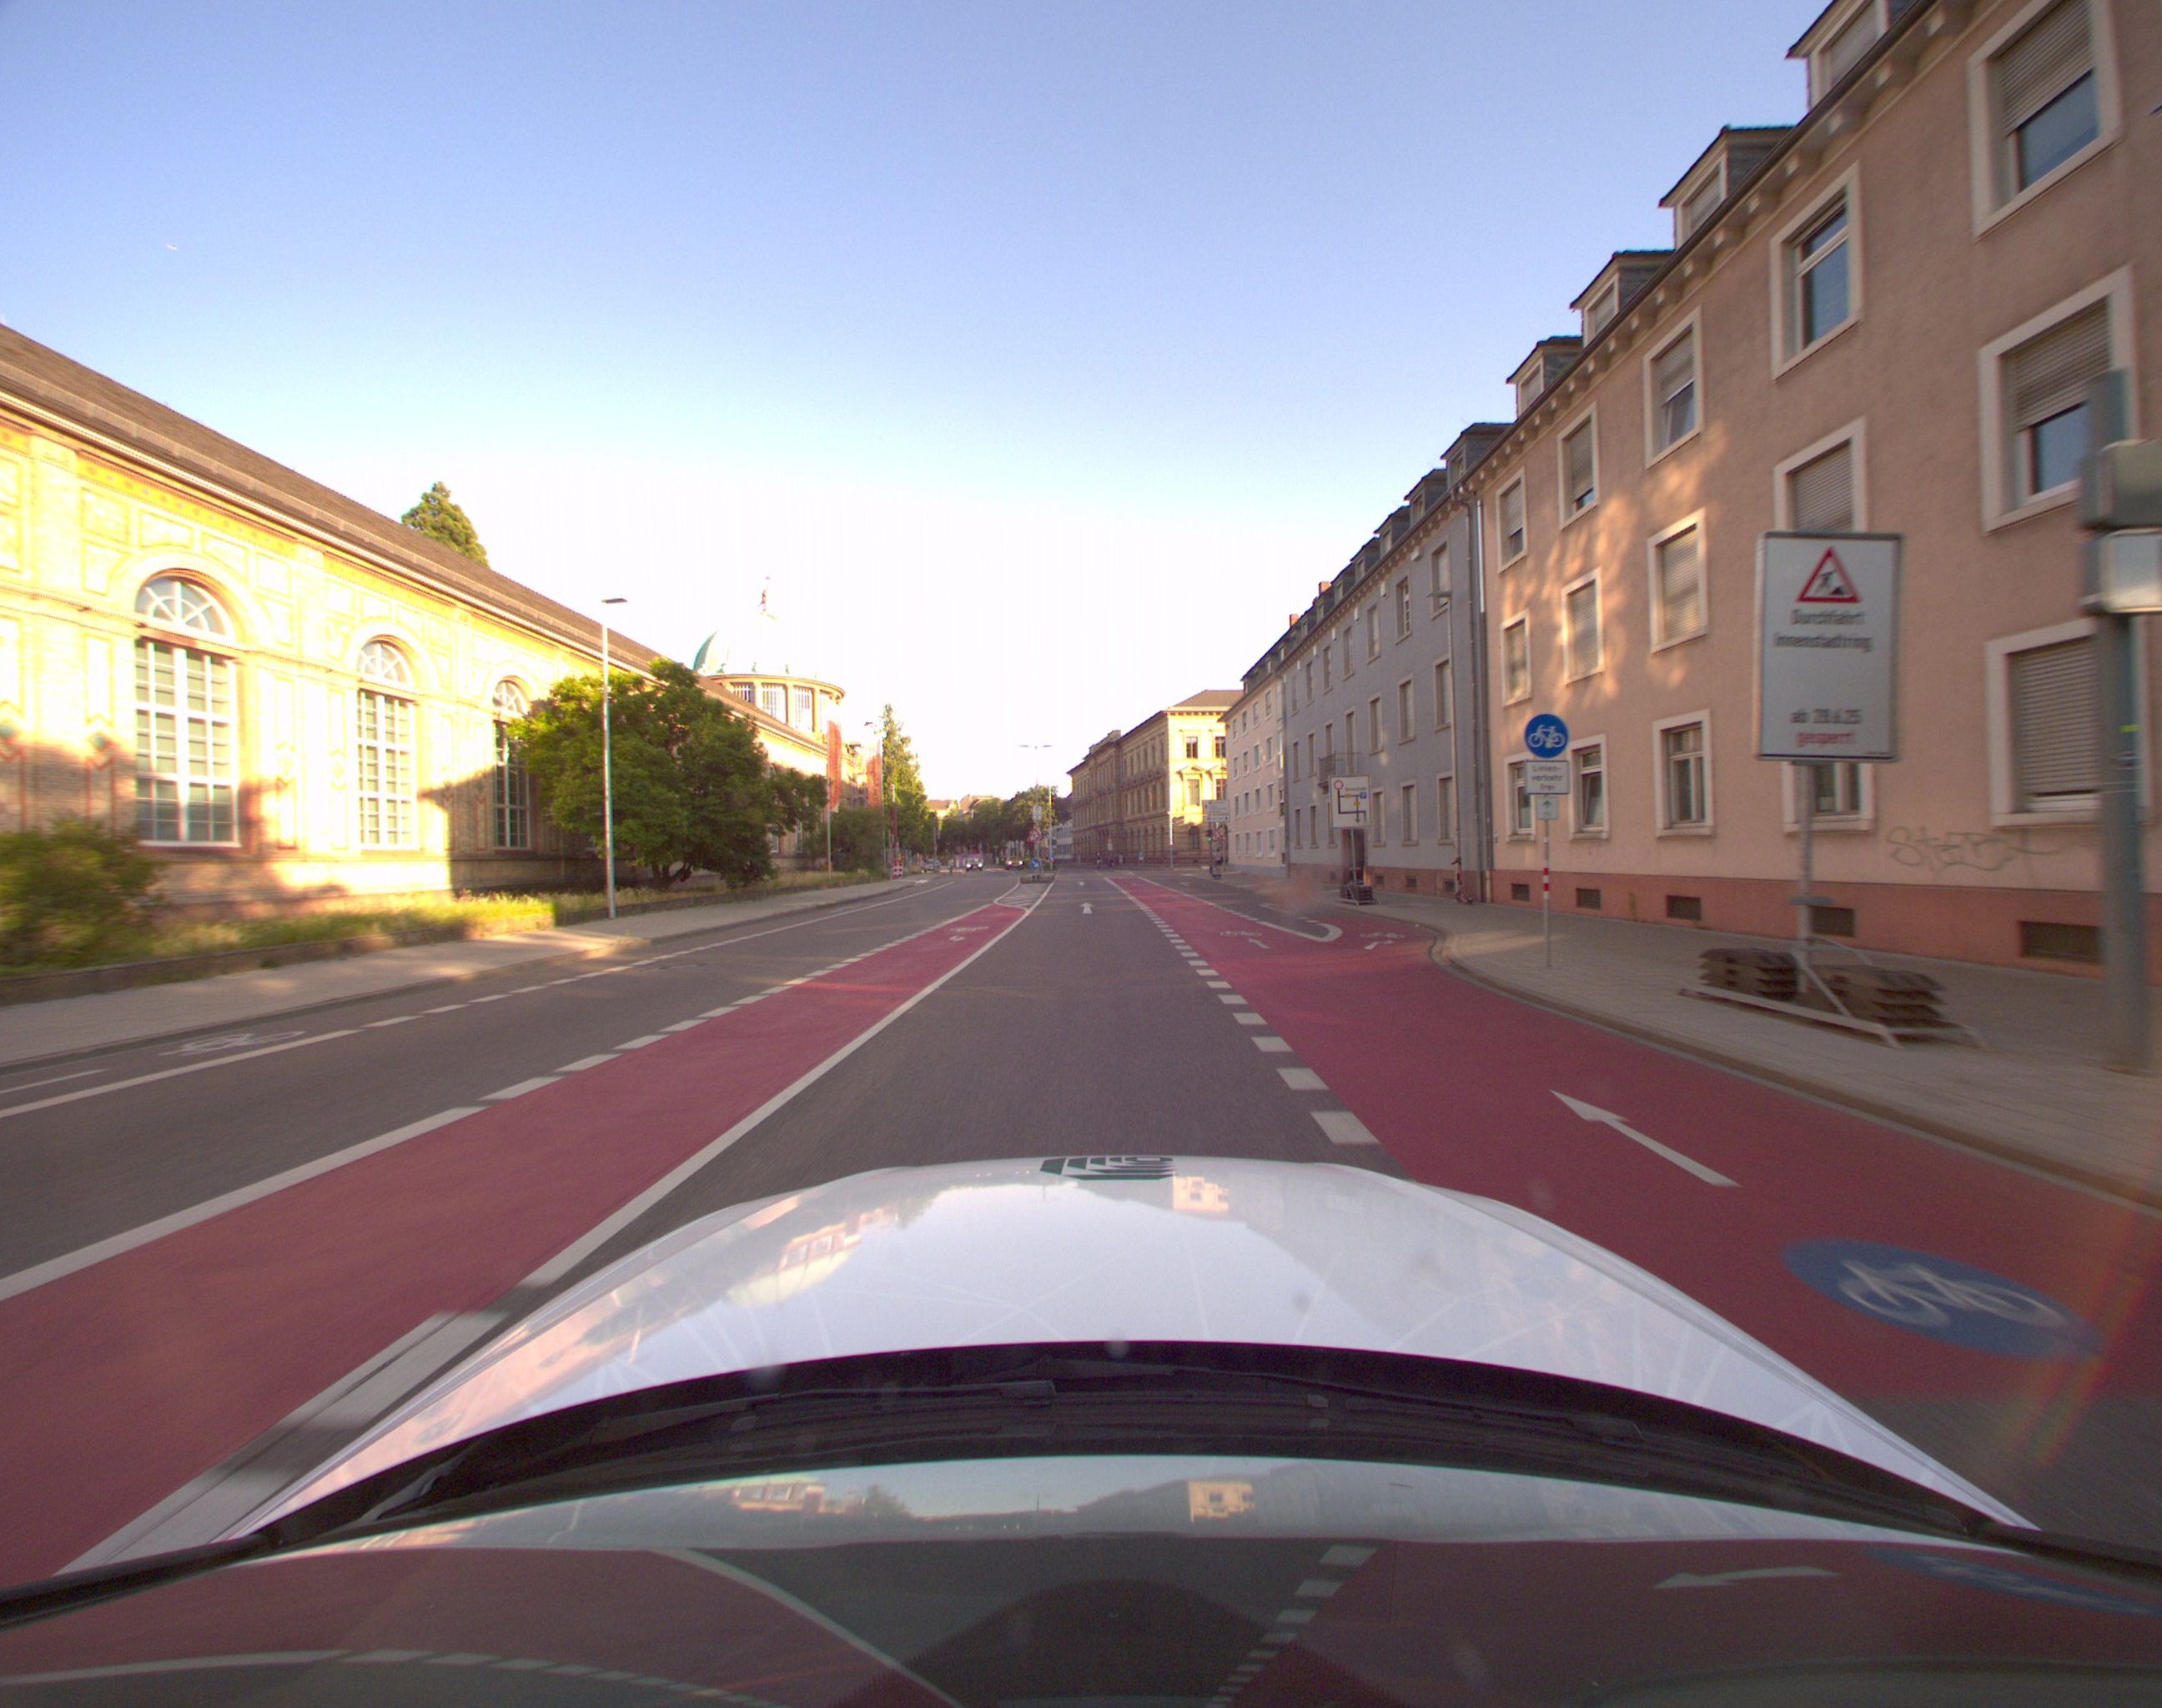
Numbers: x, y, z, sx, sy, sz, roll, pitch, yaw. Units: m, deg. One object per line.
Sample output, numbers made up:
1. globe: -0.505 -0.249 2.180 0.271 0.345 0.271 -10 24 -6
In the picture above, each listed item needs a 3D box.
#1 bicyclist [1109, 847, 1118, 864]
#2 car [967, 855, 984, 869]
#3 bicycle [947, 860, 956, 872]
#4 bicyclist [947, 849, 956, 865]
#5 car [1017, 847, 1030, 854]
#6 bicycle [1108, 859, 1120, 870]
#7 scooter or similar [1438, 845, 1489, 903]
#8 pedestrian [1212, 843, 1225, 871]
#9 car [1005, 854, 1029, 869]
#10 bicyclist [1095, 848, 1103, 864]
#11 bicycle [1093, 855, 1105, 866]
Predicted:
1. bicyclist: 3.349 0.181 84.347 0.650 1.760 0.860 1 -1 -14
2. car: -12.362 0.890 95.293 1.821 1.508 4.417 -2 0 -6
3. bicycle: -12.569 1.123 79.216 0.753 1.090 1.928 -3 0 -7
4. bicyclist: -12.618 0.285 79.215 0.746 1.460 0.935 -3 0 -7
5. car: -13.065 -0.750 185.919 1.819 1.560 3.837 -1 -1 -21
6. bicycle: 3.381 1.060 84.129 0.653 1.071 2.247 1 -1 -14
7. scooter or similar: 10.291 0.515 21.964 0.721 1.459 1.676 -4 0 10
8. pedestrian: 9.984 0.199 59.014 0.779 2.013 0.998 -1 0 14
9. car: -7.192 0.865 91.681 1.835 1.547 4.126 -2 0 7
10. bicyclist: 1.896 0.203 84.218 0.670 1.566 0.694 1 -1 -17
11. bicycle: 1.878 0.677 84.264 0.671 1.071 1.890 0 -1 -17
